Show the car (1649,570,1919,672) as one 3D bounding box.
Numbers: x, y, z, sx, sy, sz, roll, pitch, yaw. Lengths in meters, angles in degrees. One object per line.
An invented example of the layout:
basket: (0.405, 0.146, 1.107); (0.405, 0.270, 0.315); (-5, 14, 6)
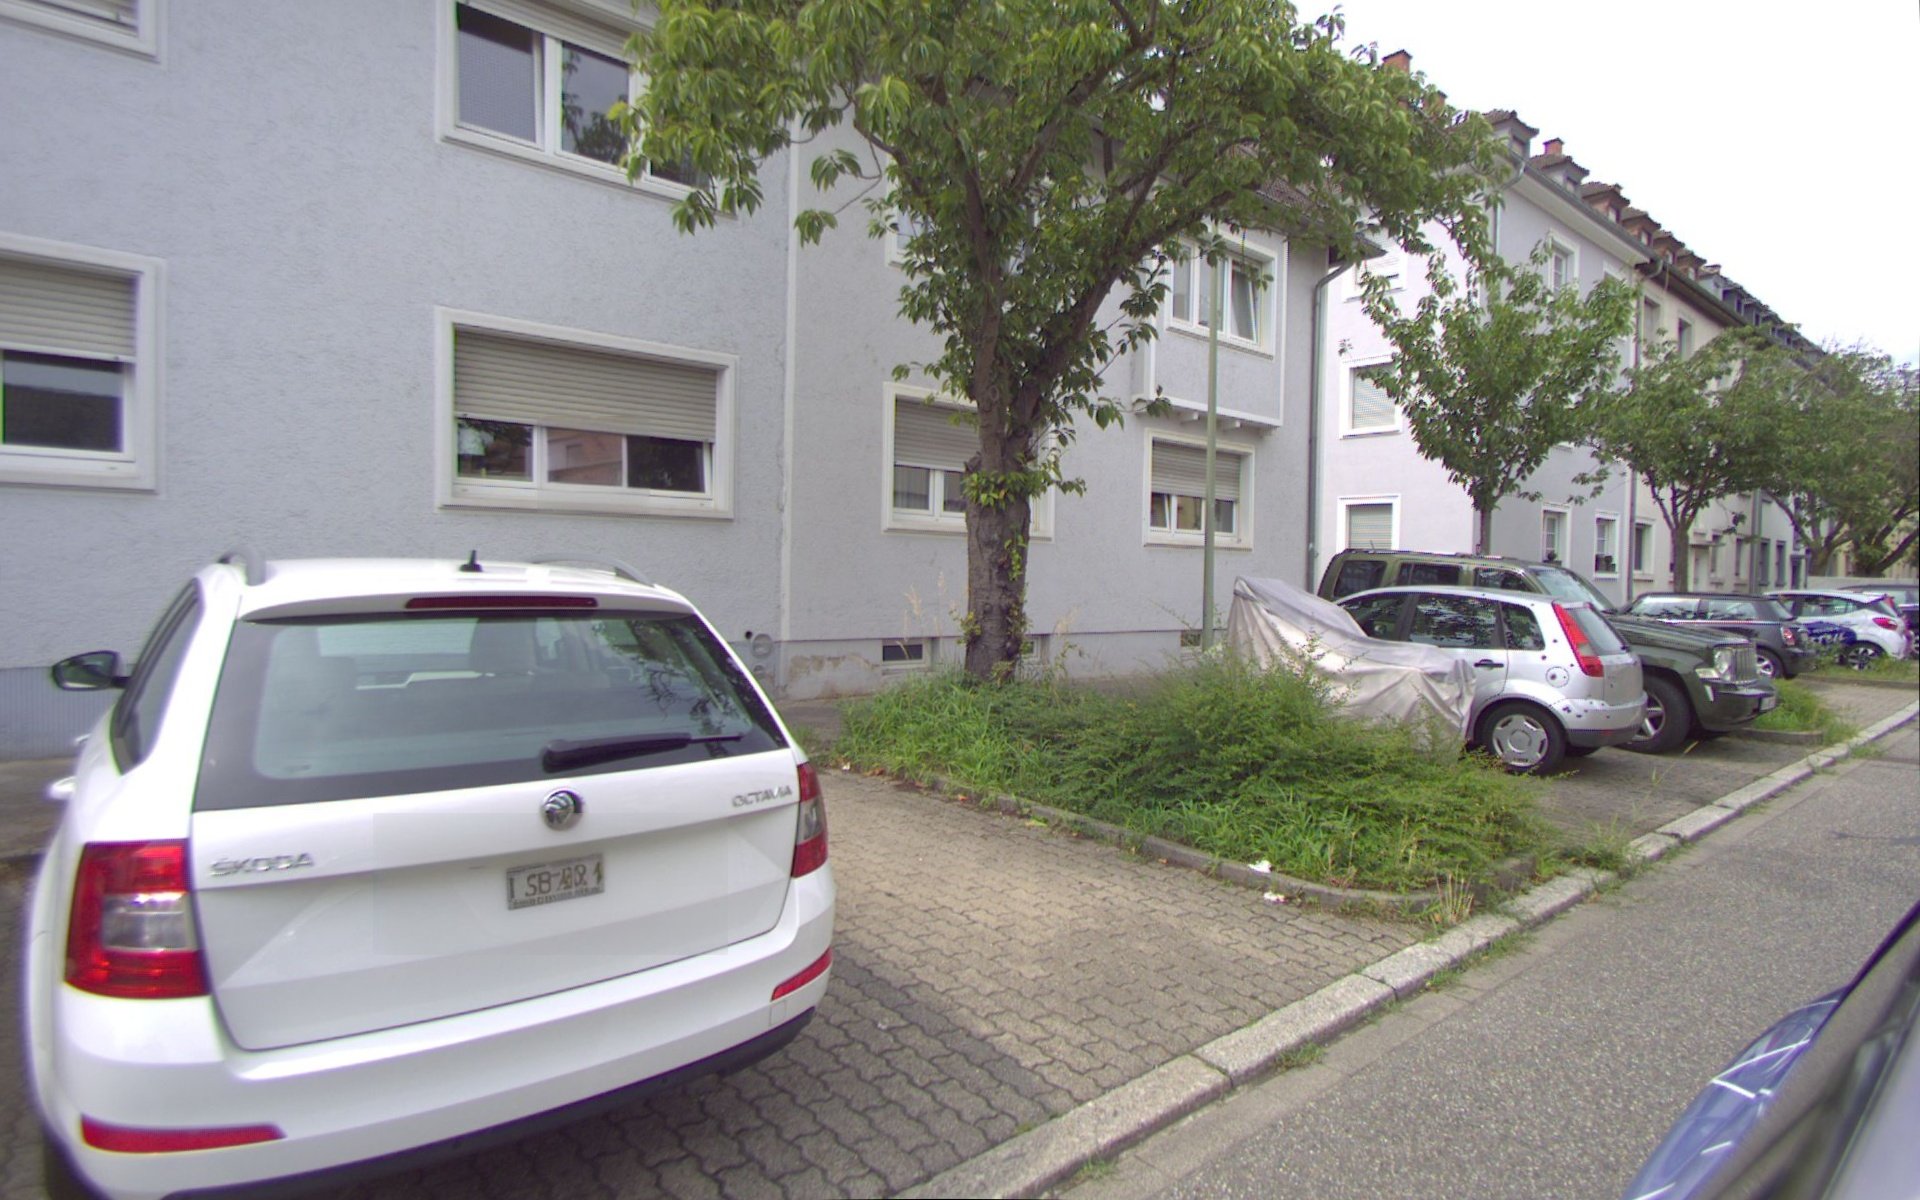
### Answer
car: (15.854, 0.305, 19.434); (1.738, 1.548, 3.994); (-1, 4, -42)

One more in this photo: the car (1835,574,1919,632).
car: (29.174, 0.154, 30.308); (1.871, 1.617, 4.224); (-1, 4, -41)

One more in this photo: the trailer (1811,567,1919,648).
trailer: (23.471, 0.185, 25.360); (1.374, 1.853, 2.972); (0, 4, -36)

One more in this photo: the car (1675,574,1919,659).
car: (17.661, 0.267, 21.241); (1.738, 1.427, 3.994); (-1, 4, -42)

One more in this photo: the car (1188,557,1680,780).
car: (4.134, 0.429, 9.215); (1.743, 1.472, 3.630); (-1, 5, -43)

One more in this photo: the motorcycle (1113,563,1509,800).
motorcycle: (2.580, 0.484, 7.807); (1.014, 1.482, 2.704); (0, 2, -43)

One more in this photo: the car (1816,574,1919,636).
car: (27.260, 0.176, 28.750); (1.871, 1.617, 4.223); (-1, 4, -42)

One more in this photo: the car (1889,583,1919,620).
car: (39.784, 0.163, 40.202); (1.609, 1.437, 3.997); (0, 4, -40)

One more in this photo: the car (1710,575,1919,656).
car: (19.296, 0.288, 22.545); (1.831, 1.459, 3.759); (0, 4, -38)

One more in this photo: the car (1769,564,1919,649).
car: (21.664, 0.165, 23.406); (1.869, 1.756, 4.229); (0, 4, -37)

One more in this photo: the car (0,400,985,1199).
car: (-2.123, 0.408, 3.645); (1.858, 1.683, 4.628); (0, 4, -38)

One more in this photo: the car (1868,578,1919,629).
car: (34.696, 0.209, 35.251); (1.869, 1.697, 4.229); (0, 4, -37)

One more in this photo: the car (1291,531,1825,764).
car: (6.069, 0.276, 10.868); (1.760, 1.880, 4.541); (0, 4, -37)

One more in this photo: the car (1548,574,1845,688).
car: (11.895, 0.406, 16.506); (1.777, 1.470, 3.552); (0, 4, -40)
